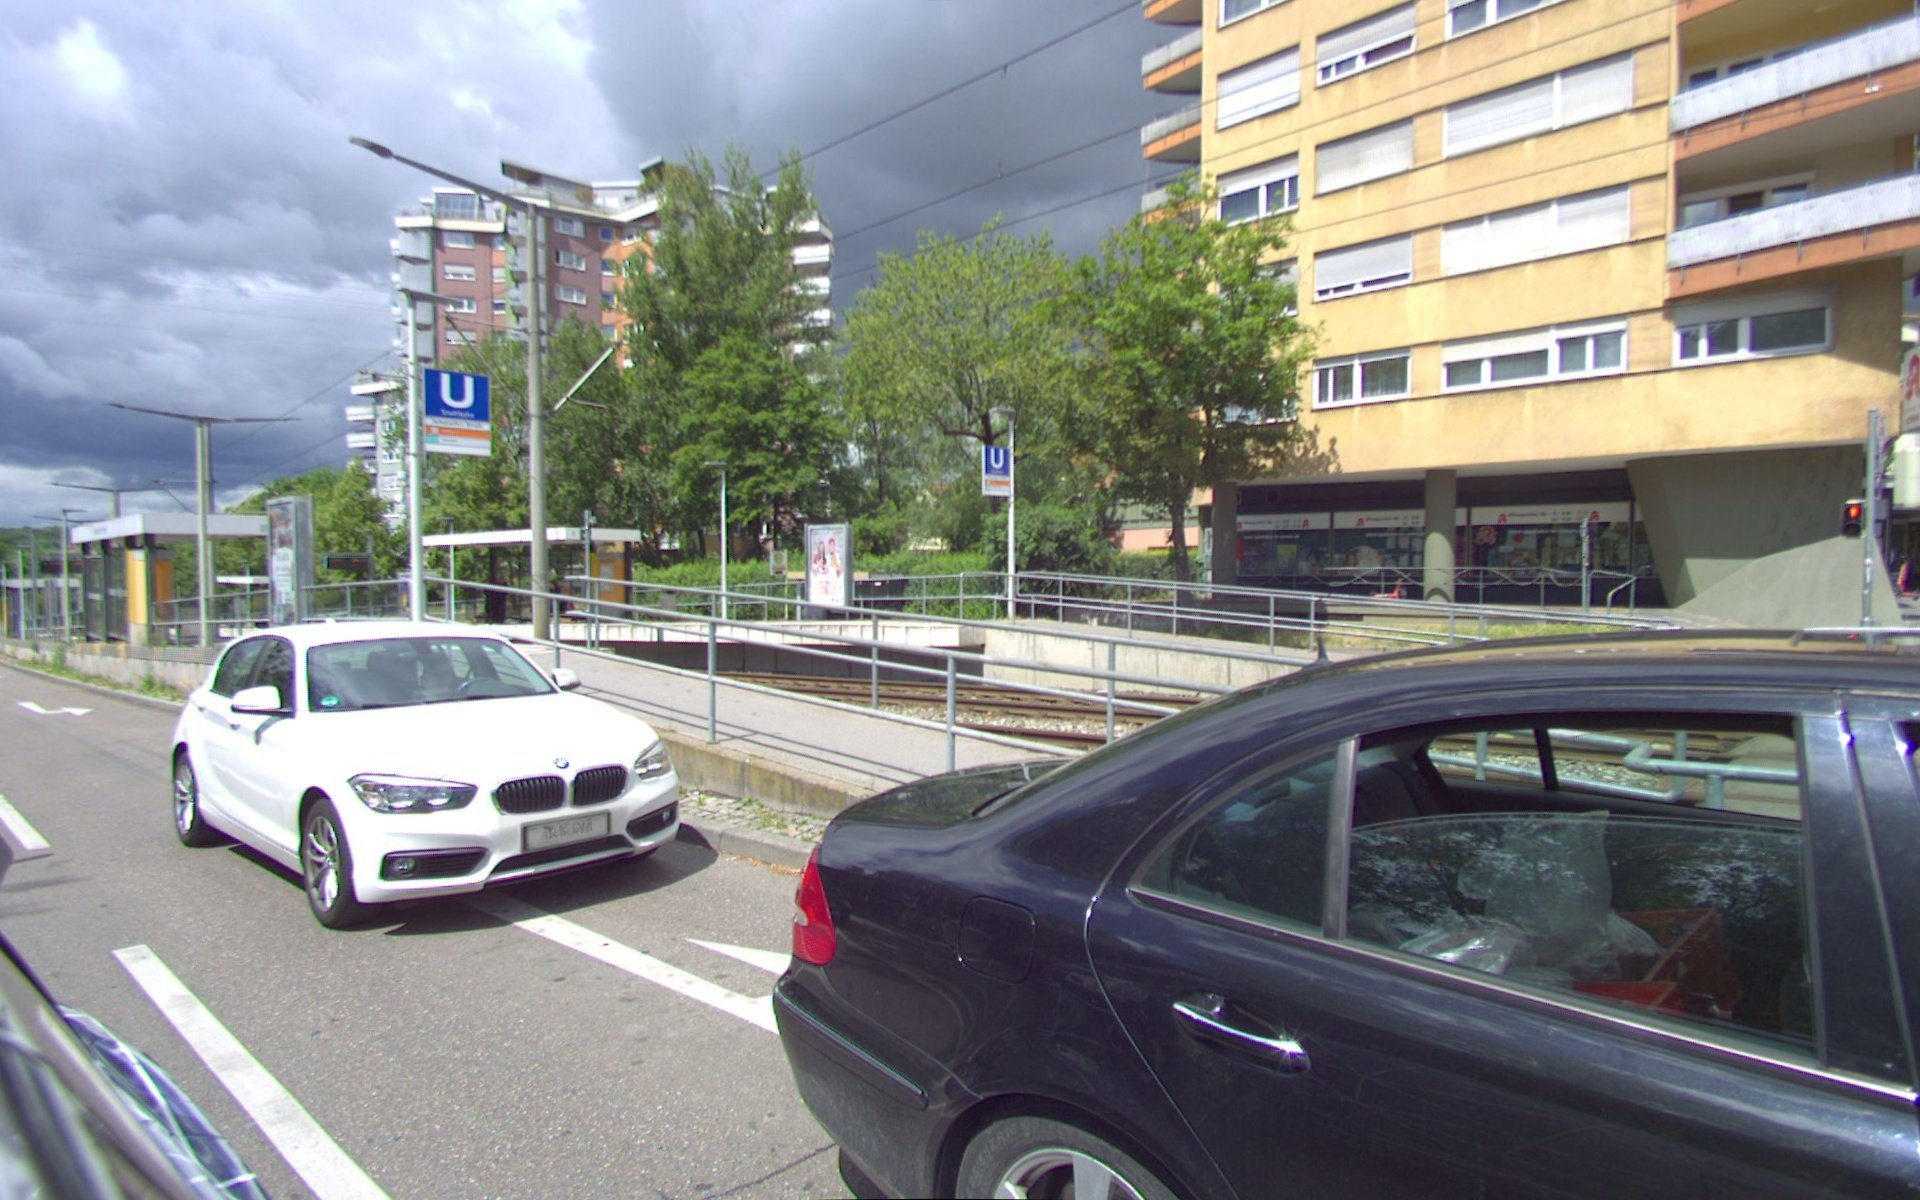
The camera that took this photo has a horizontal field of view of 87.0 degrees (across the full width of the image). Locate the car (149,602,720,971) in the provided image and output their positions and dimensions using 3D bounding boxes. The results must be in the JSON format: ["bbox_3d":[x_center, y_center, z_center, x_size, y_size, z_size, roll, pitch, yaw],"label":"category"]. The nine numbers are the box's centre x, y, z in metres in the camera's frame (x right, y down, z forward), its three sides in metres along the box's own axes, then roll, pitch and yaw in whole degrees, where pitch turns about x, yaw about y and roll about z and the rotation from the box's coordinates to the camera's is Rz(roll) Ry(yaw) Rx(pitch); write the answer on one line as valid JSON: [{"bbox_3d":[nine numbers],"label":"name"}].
[{"bbox_3d":[-3.348,0.781,6.076,3.998,1.472,1.710,-1,0,41],"label":"car"}]

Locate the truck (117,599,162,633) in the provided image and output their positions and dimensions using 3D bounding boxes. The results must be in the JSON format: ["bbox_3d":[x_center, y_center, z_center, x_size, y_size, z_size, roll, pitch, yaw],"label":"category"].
[{"bbox_3d":[-82.242,1.651,101.385,7.260,3.247,2.389,-2,-1,42],"label":"truck"}]

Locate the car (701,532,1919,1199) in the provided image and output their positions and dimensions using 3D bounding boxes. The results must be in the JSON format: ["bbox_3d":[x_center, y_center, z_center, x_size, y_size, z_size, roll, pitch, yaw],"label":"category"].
[{"bbox_3d":[1.691,0.658,1.406,4.542,1.472,1.710,-1,0,41],"label":"car"}]

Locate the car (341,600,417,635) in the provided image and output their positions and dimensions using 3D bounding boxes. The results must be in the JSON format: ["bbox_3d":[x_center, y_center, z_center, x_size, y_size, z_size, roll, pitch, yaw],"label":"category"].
[{"bbox_3d":[-28.573,0.857,49.689,4.459,1.647,1.972,-1,-2,42],"label":"car"}]
